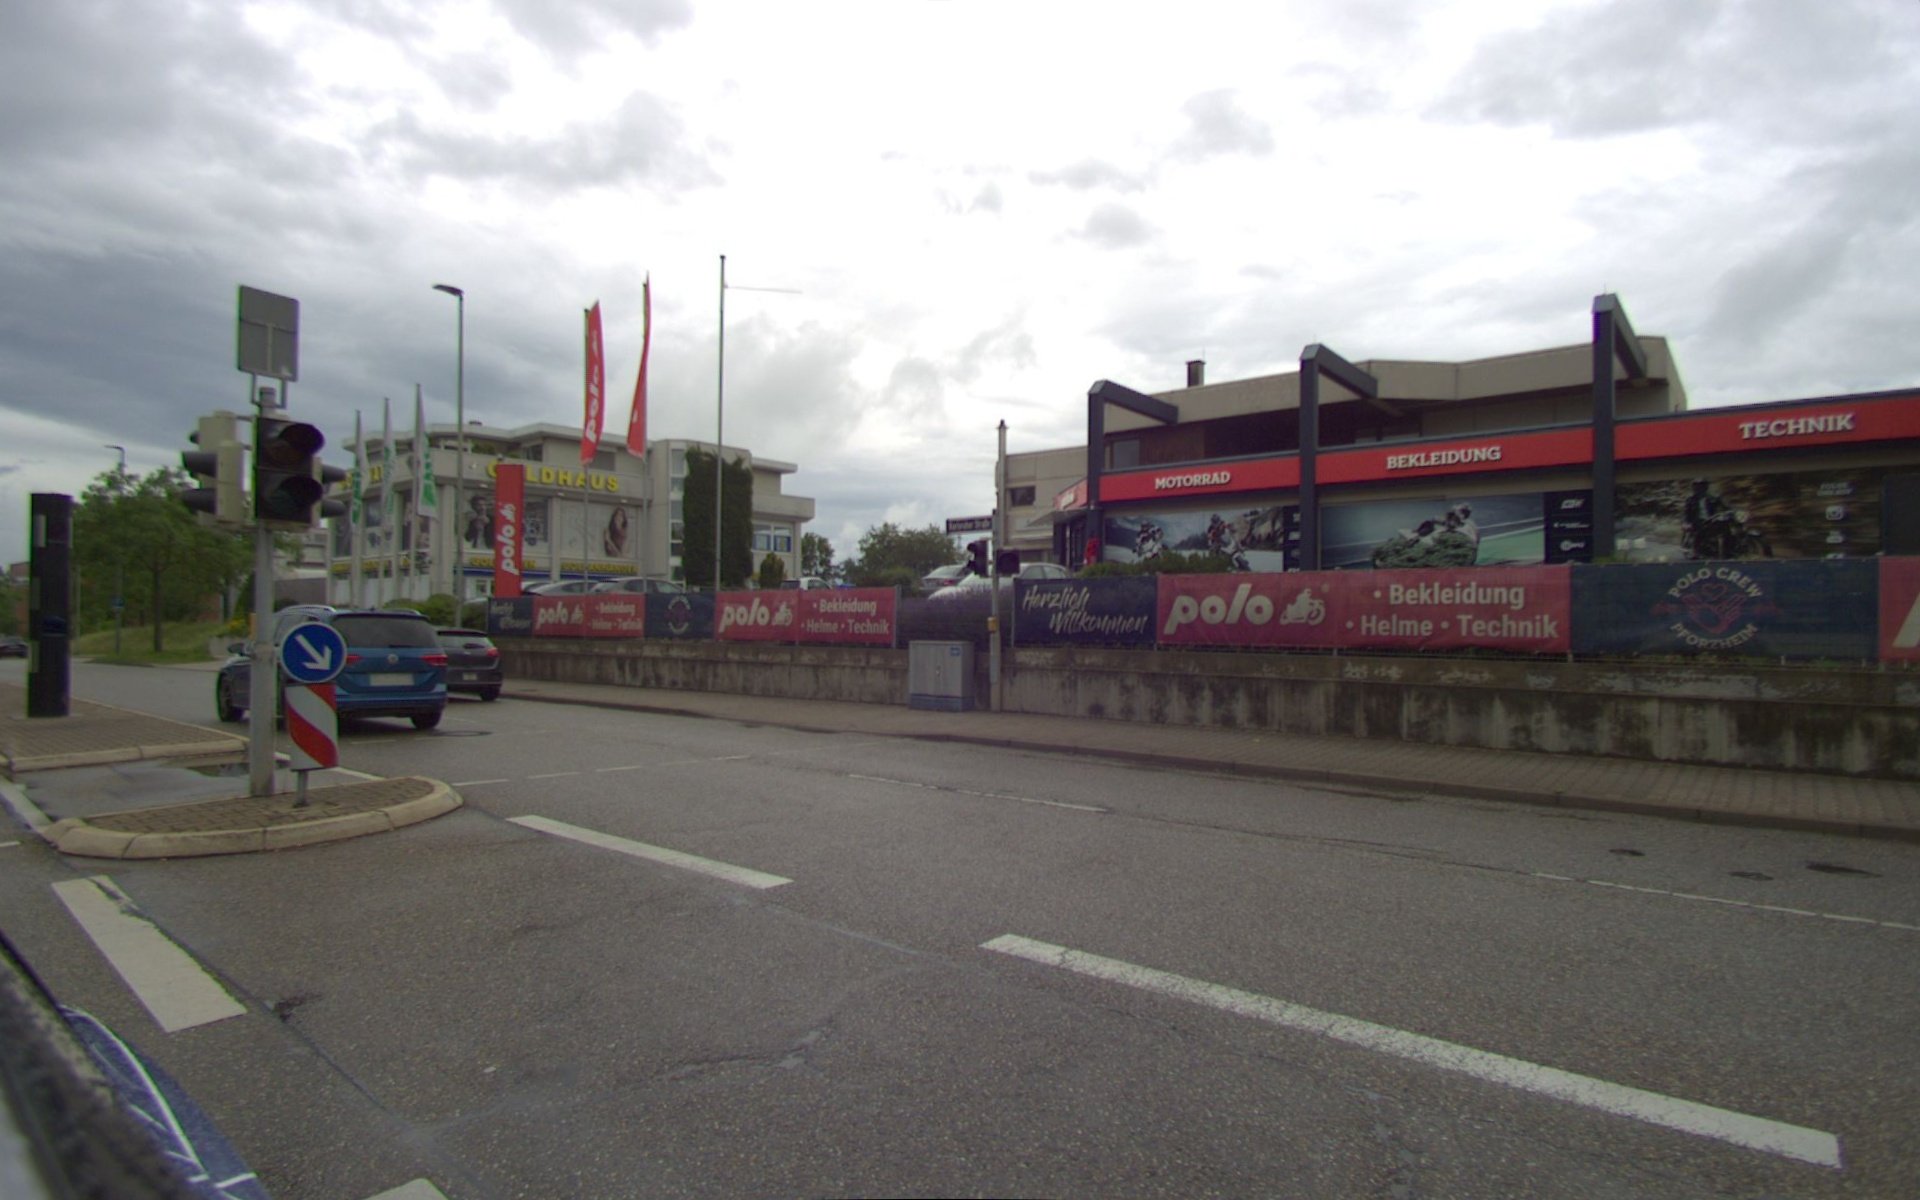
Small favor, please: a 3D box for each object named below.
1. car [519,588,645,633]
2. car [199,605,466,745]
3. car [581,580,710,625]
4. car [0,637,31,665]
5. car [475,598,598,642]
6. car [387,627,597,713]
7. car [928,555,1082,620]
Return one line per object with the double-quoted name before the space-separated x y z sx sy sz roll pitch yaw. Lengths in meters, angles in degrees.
"car" -11.500 0.354 30.933 1.452 1.287 3.353 -2 -2 38
"car" -8.815 0.965 14.082 4.292 1.662 1.821 -1 -3 39
"car" -9.053 0.111 29.298 1.452 1.176 3.353 -2 -2 38
"car" -71.070 3.814 75.369 4.541 1.905 2.320 -4 -4 41
"car" -13.611 0.672 32.649 1.454 1.347 3.350 -2 -3 41
"car" -8.614 1.210 18.502 4.122 1.390 1.897 -1 -3 40
"car" 0.984 -0.197 20.588 1.452 1.176 3.353 -2 -2 38
